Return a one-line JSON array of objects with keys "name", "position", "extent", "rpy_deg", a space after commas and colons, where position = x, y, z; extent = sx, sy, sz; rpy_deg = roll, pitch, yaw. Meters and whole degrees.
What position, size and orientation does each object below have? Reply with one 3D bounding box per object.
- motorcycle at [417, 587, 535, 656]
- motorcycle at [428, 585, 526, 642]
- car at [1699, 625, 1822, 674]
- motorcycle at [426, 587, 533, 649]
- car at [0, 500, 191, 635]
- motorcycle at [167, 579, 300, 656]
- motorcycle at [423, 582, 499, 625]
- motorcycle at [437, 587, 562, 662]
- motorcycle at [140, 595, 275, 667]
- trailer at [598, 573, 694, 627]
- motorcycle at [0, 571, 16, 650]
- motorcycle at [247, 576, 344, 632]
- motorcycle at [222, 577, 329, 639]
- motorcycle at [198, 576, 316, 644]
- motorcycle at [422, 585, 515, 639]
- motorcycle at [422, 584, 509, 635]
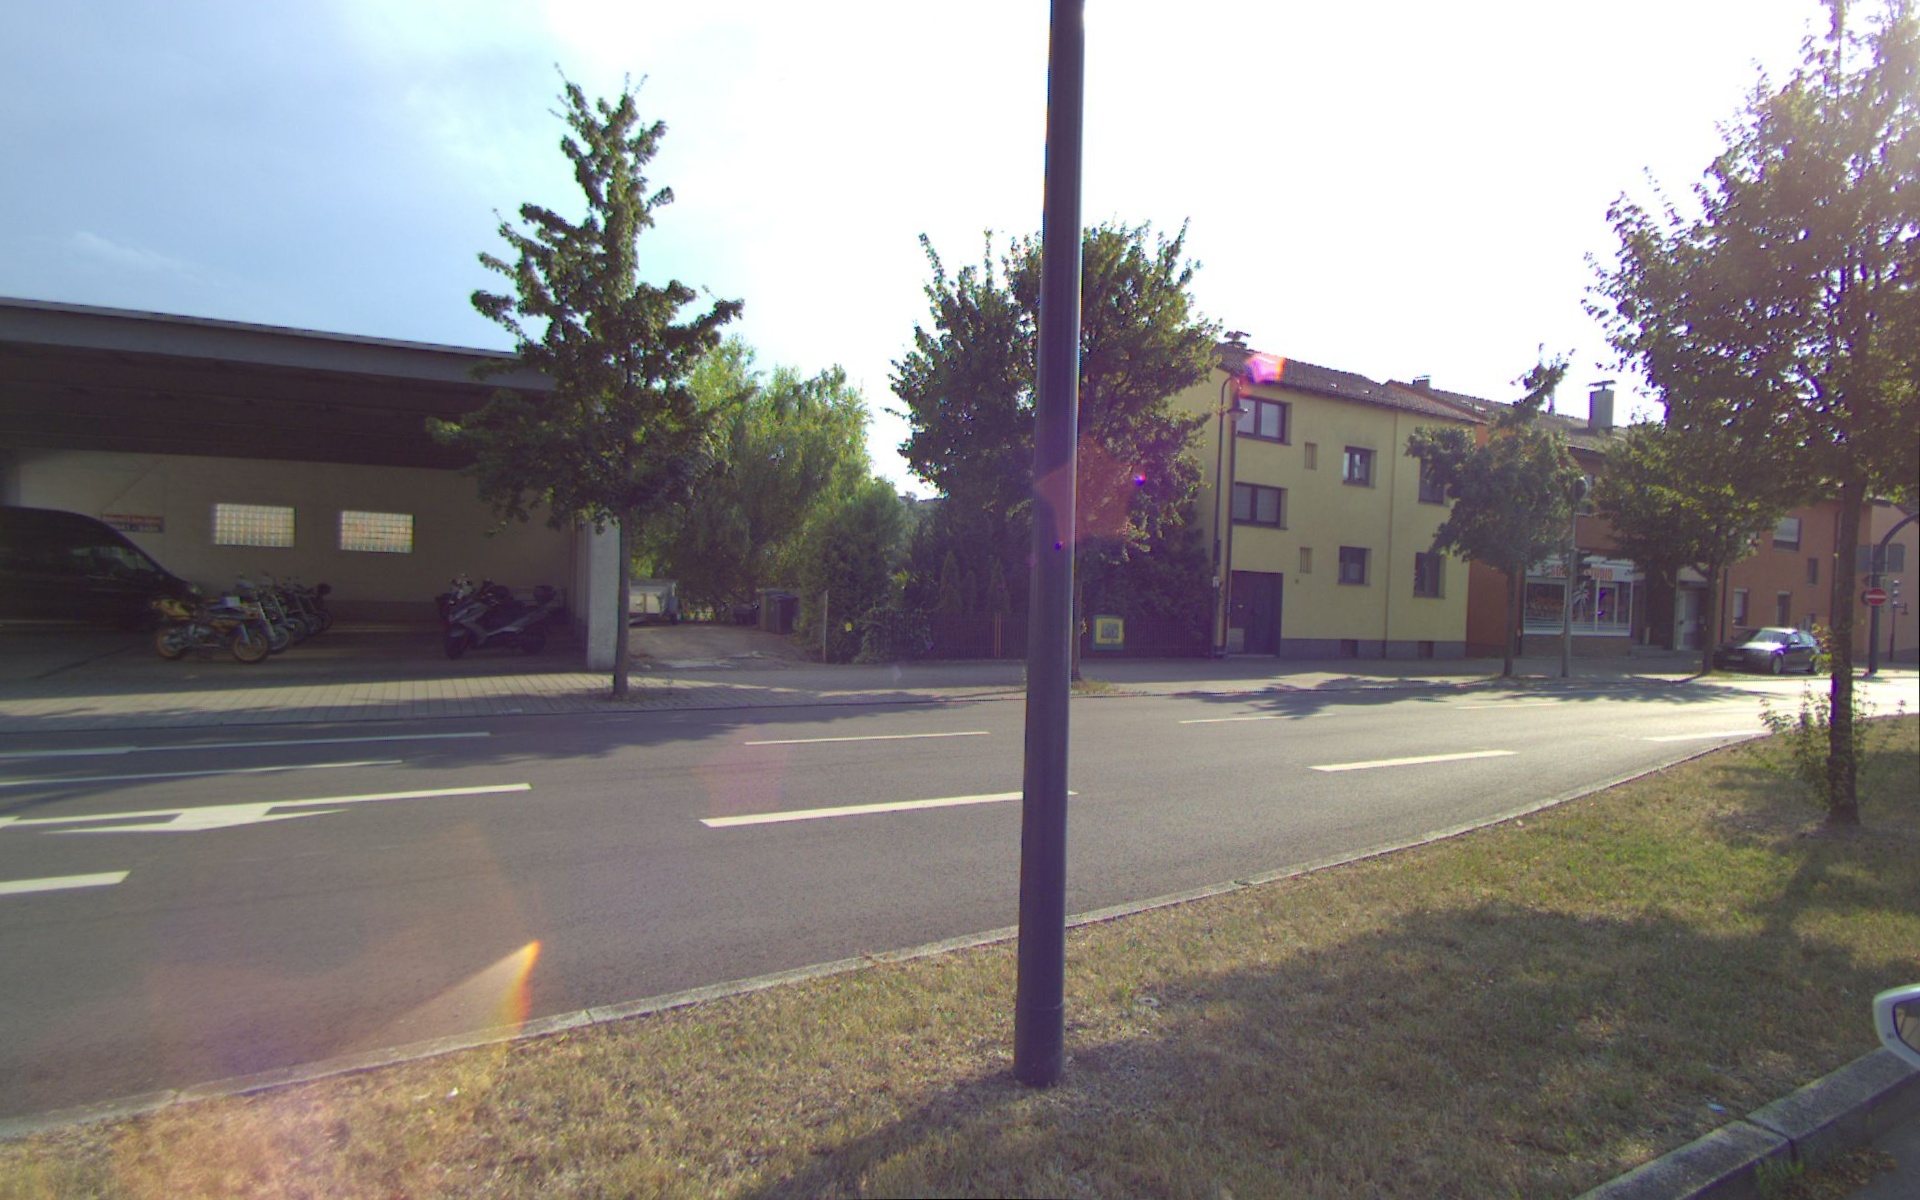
[{"name": "motorcycle", "position": [-9.815, 0.398, 20.457], "extent": [0.621, 1.314, 2.113], "rpy_deg": [1, 2, 36]}, {"name": "motorcycle", "position": [-11.770, 0.308, 24.536], "extent": [0.621, 1.314, 2.113], "rpy_deg": [1, 2, 36]}, {"name": "car", "position": [25.966, 1.594, 32.554], "extent": [3.953, 1.319, 1.728], "rpy_deg": [1, 4, -30]}, {"name": "motorcycle", "position": [-10.745, 0.380, 22.535], "extent": [0.621, 1.314, 2.113], "rpy_deg": [1, 2, 36]}, {"name": "car", "position": [-20.455, -0.686, 22.089], "extent": [1.962, 2.789, 5.280], "rpy_deg": [1, 0, 26]}, {"name": "motorcycle", "position": [-13.635, 0.315, 18.860], "extent": [2.219, 1.354, 0.631], "rpy_deg": [1, 0, 10]}, {"name": "motorcycle", "position": [-15.962, 0.097, 32.175], "extent": [0.621, 1.314, 2.113], "rpy_deg": [1, 2, 36]}, {"name": "motorcycle", "position": [-8.622, 0.426, 18.895], "extent": [0.621, 1.314, 2.113], "rpy_deg": [1, 2, 36]}, {"name": "motorcycle", "position": [-12.499, 0.500, 16.695], "extent": [1.993, 1.101, 0.631], "rpy_deg": [1, 0, 12]}, {"name": "trailer", "position": [-8.220, -0.010, 26.616], "extent": [1.698, 1.280, 3.995], "rpy_deg": [1, 0, -7]}, {"name": "motorcycle", "position": [-17.290, 0.165, 16.723], "extent": [0.619, 1.380, 2.225], "rpy_deg": [1, 0, 24]}, {"name": "motorcycle", "position": [-16.912, 0.098, 25.571], "extent": [2.219, 1.354, 0.631], "rpy_deg": [1, 0, 10]}, {"name": "motorcycle", "position": [-15.887, 0.177, 23.312], "extent": [2.219, 1.354, 0.631], "rpy_deg": [1, 0, 10]}, {"name": "motorcycle", "position": [-14.756, 0.201, 21.103], "extent": [2.219, 1.354, 0.631], "rpy_deg": [1, 0, 10]}, {"name": "motorcycle", "position": [-12.652, 0.288, 25.919], "extent": [0.621, 1.314, 2.113], "rpy_deg": [1, 2, 36]}, {"name": "motorcycle", "position": [-13.516, 0.236, 27.516], "extent": [0.621, 1.314, 2.113], "rpy_deg": [1, 2, 36]}]
